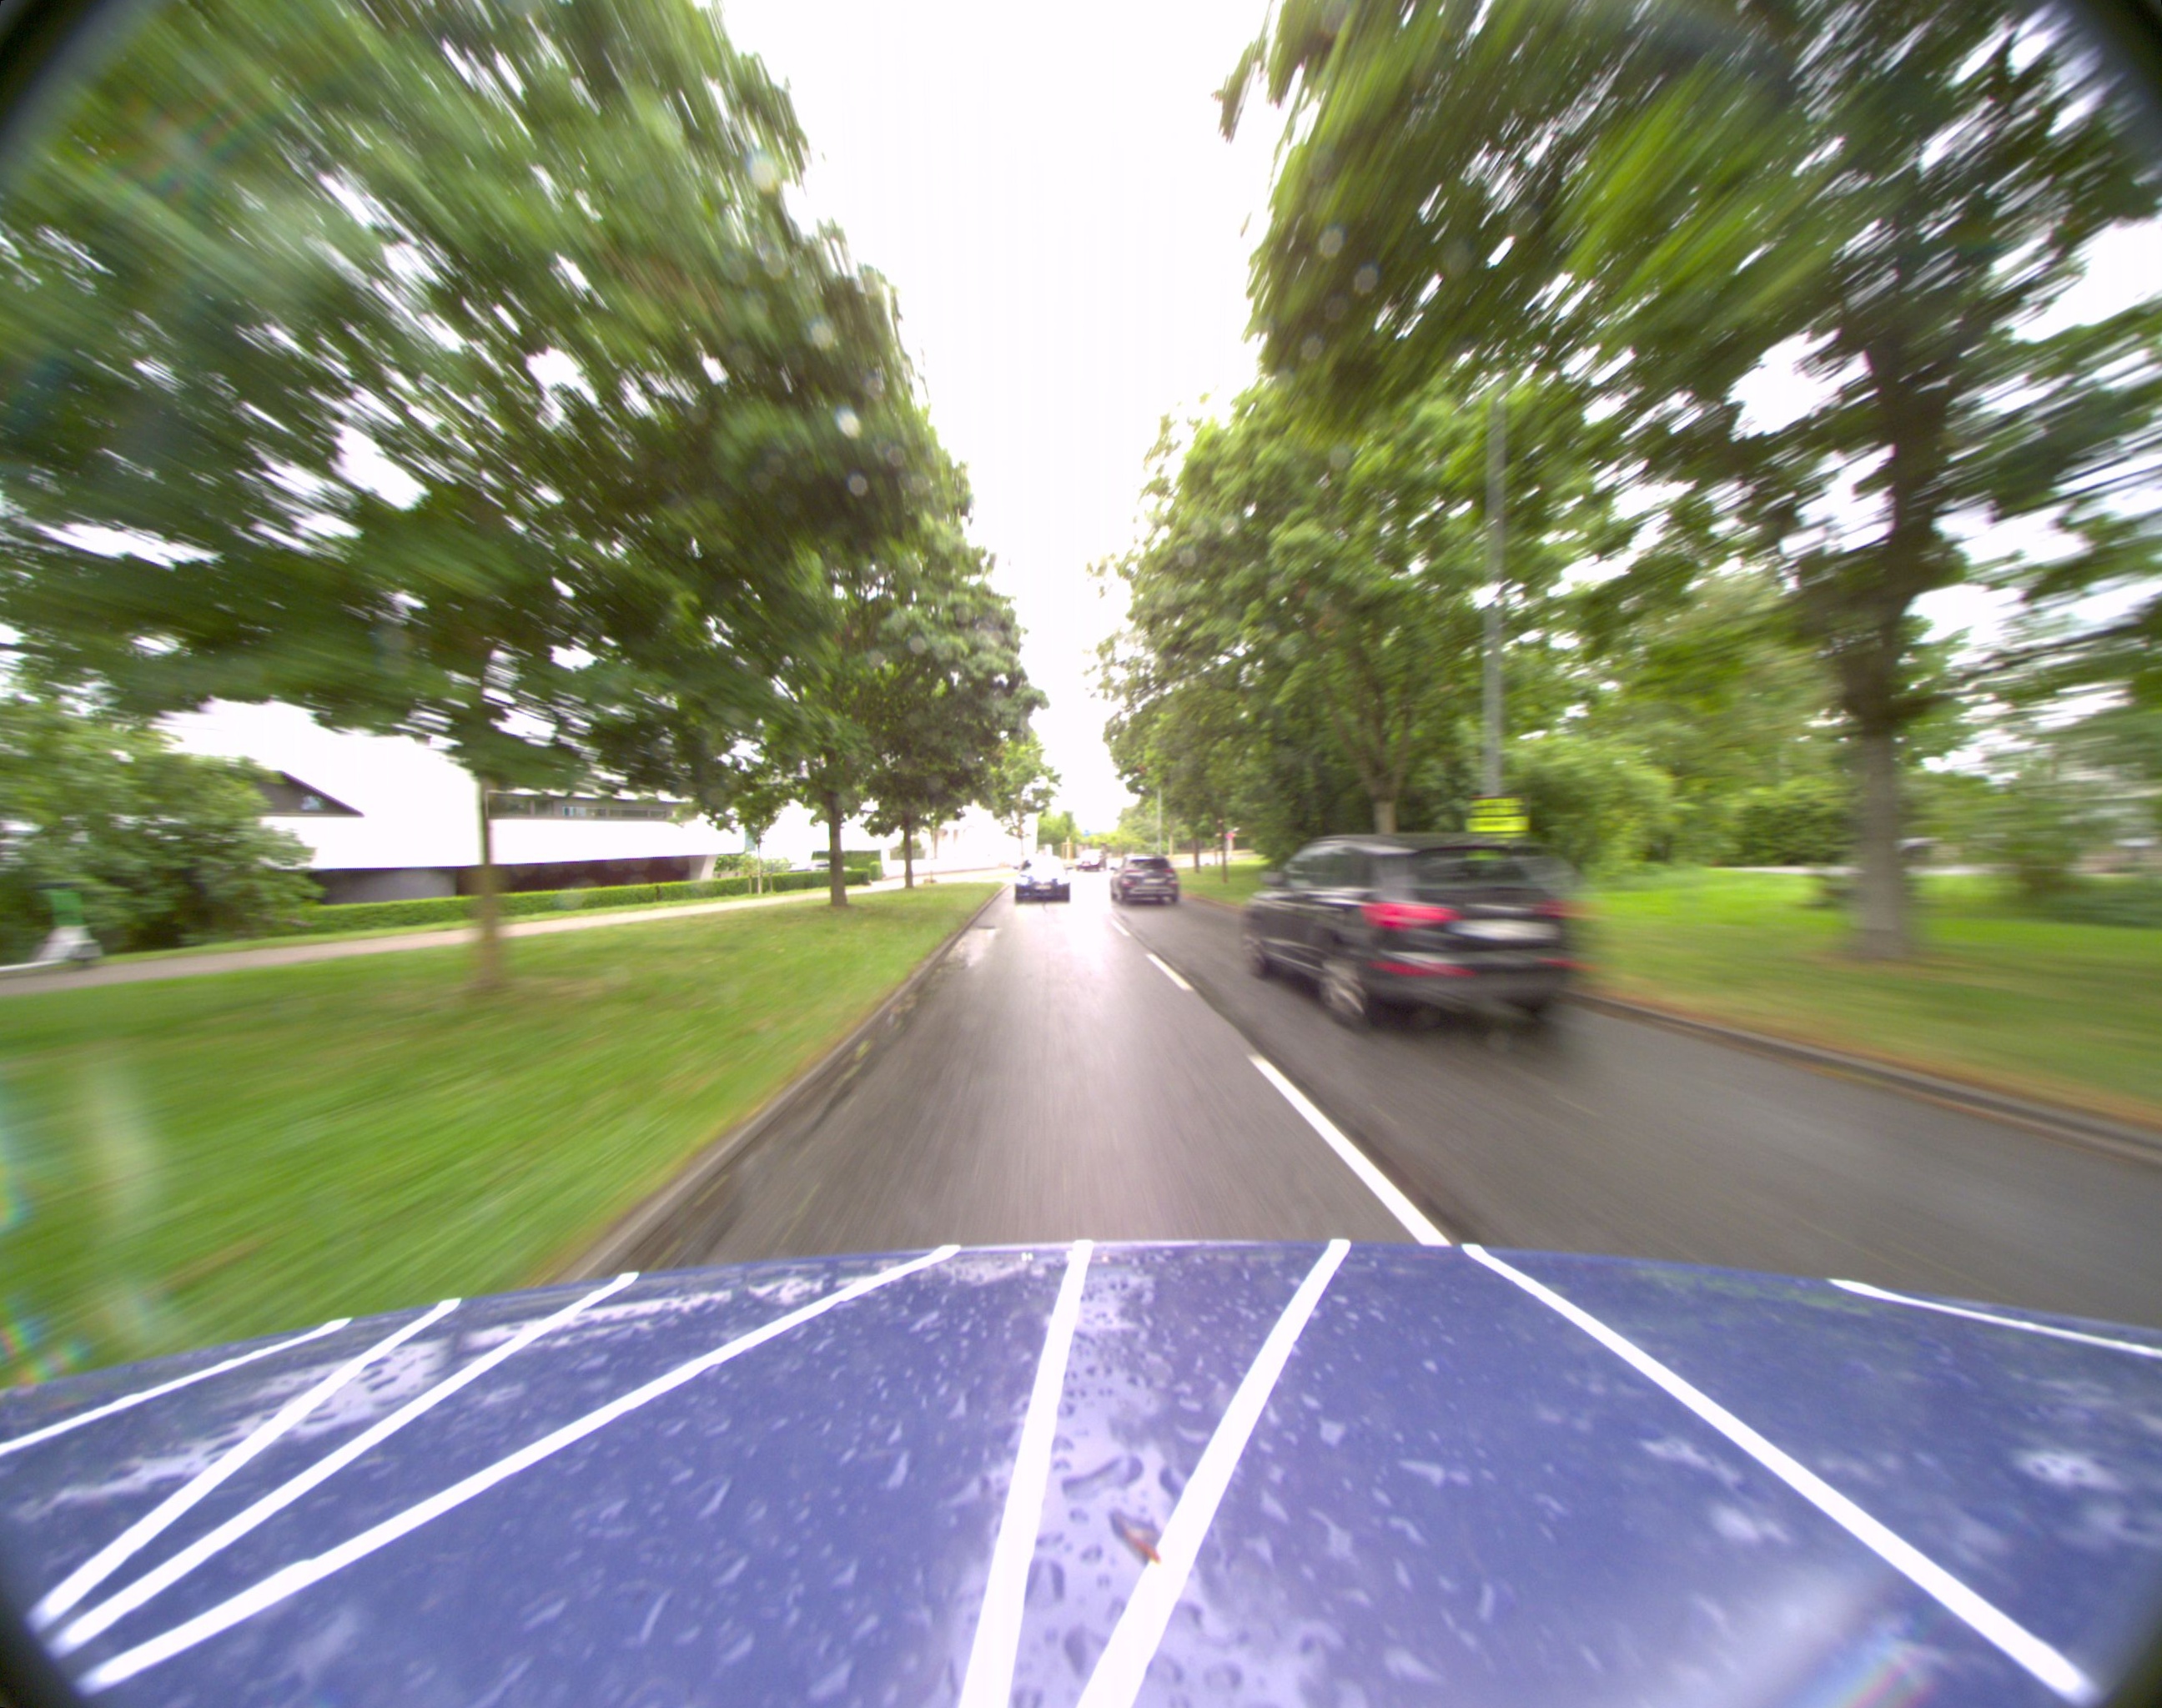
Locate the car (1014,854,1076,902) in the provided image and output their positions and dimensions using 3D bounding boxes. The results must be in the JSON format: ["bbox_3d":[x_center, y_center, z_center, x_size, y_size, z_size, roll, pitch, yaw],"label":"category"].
[{"bbox_3d":[-1.171,0.781,26.375,1.815,1.459,3.974,-1,1,2],"label":"car"}]

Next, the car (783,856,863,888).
[{"bbox_3d":[-15.096,1.012,44.656,1.923,1.541,4.465,-3,1,22],"label":"car"}]

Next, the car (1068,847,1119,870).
[{"bbox_3d":[0.975,0.312,55.920,1.926,1.374,4.315,-2,1,29],"label":"car"}]

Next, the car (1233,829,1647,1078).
[{"bbox_3d":[2.956,0.692,7.502,1.857,1.682,4.404,-1,0,-2],"label":"car"}]

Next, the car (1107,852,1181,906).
[{"bbox_3d":[1.931,0.743,24.510,1.794,1.528,4.091,-1,0,-4],"label":"car"}]

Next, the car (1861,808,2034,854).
[{"bbox_3d":[30.364,-0.800,26.790,3.592,1.368,1.800,-3,1,26],"label":"car"}]
